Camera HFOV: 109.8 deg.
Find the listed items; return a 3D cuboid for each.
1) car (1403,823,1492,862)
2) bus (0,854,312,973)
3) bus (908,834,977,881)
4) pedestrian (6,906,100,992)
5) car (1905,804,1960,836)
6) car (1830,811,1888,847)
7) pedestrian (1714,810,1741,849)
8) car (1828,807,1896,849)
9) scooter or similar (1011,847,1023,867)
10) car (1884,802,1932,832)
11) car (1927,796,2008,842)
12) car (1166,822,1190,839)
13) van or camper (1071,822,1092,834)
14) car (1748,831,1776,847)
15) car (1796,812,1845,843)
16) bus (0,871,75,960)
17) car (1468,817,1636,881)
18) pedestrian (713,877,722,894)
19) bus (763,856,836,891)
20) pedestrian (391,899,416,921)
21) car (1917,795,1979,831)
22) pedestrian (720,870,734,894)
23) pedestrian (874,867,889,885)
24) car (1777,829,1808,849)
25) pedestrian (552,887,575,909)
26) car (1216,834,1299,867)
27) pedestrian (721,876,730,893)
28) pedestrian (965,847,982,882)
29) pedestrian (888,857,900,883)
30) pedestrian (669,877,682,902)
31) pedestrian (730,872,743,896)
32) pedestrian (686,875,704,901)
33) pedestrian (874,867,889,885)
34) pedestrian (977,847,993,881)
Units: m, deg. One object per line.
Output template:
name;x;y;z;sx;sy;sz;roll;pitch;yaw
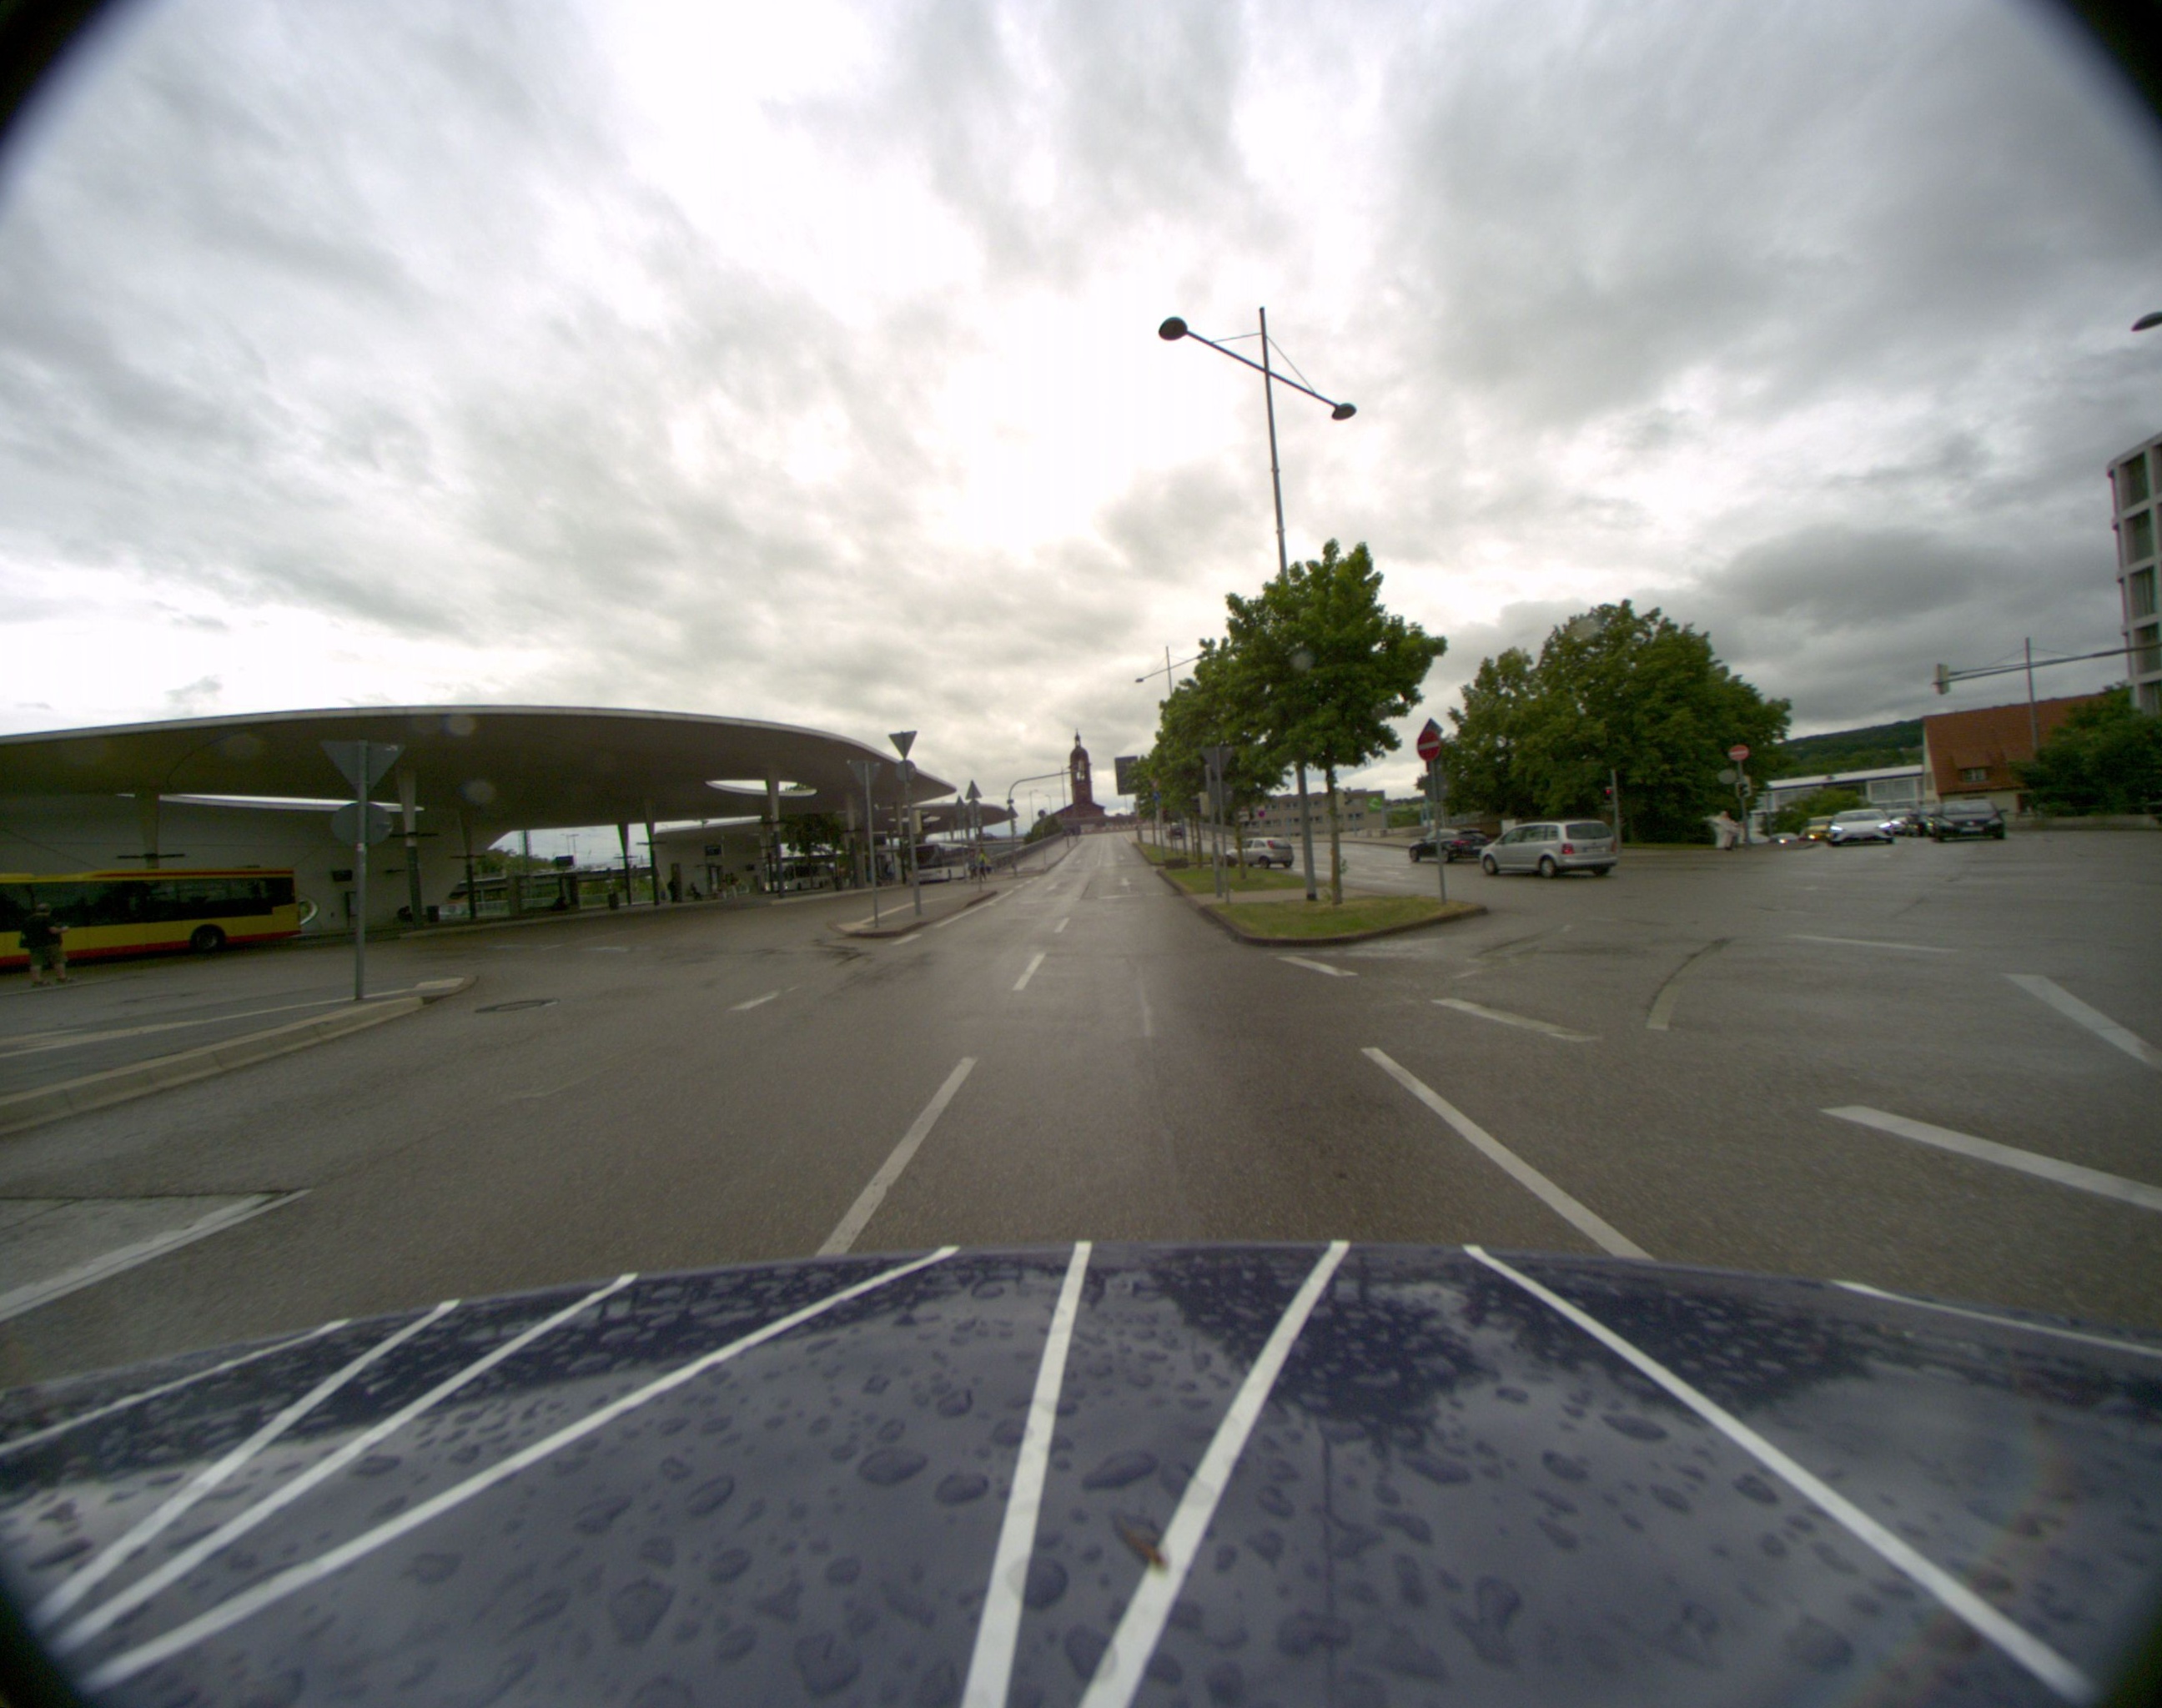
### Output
car;16.249;-0.497;33.992;1.851;1.495;4.920;-4;1;4
bus;-33.288;1.888;25.179;2.795;3.239;12.137;-4;2;1
bus;-11.261;0.224;63.238;2.851;3.342;12.426;-3;0;2
pedestrian;-21.950;2.003;16.245;0.720;1.674;1.019;-2;1;-23
car;45.211;-1.826;40.395;3.845;1.559;1.723;-4;1;-45
car;36.665;-1.189;35.875;1.723;1.499;4.063;-3;1;44
pedestrian;26.509;-0.999;31.158;0.652;1.562;0.632;-1;3;23
car;33.385;-1.133;32.458;4.148;1.559;1.883;-4;1;-43
scooter or similar;-4.129;0.180;49.237;0.465;1.214;1.859;-4;1;2
car;48.260;-2.182;44.391;3.845;1.559;1.723;-4;1;-45
car;34.060;-1.368;29.278;3.845;1.559;1.723;-4;1;-45
car;10.791;-2.689;85.185;1.913;1.653;4.854;-4;3;-1
van or camper;0.079;-4.972;143.146;2.225;2.062;5.272;-4;4;-21
car;66.383;-1.490;74.063;1.569;1.387;3.186;-3;1;35
car;43.610;-1.576;44.849;1.723;1.689;3.658;-3;1;39
bus;-43.288;2.509;26.664;2.521;3.380;9.857;-3;0;1
car;13.926;-0.139;22.847;1.853;1.643;4.416;-4;1;-7
pedestrian;-24.600;2.129;51.411;0.391;1.074;0.352;-2;1;44
bus;-30.648;1.984;83.566;2.795;3.238;12.141;-4;1;3
pedestrian;-45.352;3.747;50.888;0.711;1.318;0.801;-7;4;6
car;42.310;-2.026;37.157;3.845;1.559;1.723;-4;1;-45
pedestrian;-24.715;1.956;53.007;0.570;1.645;0.557;-3;1;8
pedestrian;-14.309;1.577;54.463;0.954;1.247;0.648;-1;-1;-21
car;62.902;-1.333;67.203;1.569;1.543;3.187;-3;1;37
pedestrian;-34.354;2.930;50.421;0.710;1.318;0.801;-7;4;10
car;8.439;-0.145;36.584;1.639;1.440;3.867;-3;2;-31
pedestrian;-24.151;2.088;51.629;0.395;1.138;0.364;-2;1;44
pedestrian;-5.494;0.537;38.876;0.590;1.662;0.580;-6;5;2
pedestrian;-13.341;1.150;54.259;0.585;1.875;0.649;-2;-1;13
pedestrian;-25.203;2.201;47.212;0.522;1.493;0.381;-4;1;-37
pedestrian;-24.595;2.126;54.250;0.644;1.645;0.638;-4;1;-37
pedestrian;-24.930;2.206;49.098;0.590;1.581;0.677;-7;4;-1
pedestrian;-14.137;1.552;53.806;0.954;1.247;0.648;-1;-1;-21
pedestrian;-4.912;0.486;38.899;0.523;1.661;0.580;-5;4;2
